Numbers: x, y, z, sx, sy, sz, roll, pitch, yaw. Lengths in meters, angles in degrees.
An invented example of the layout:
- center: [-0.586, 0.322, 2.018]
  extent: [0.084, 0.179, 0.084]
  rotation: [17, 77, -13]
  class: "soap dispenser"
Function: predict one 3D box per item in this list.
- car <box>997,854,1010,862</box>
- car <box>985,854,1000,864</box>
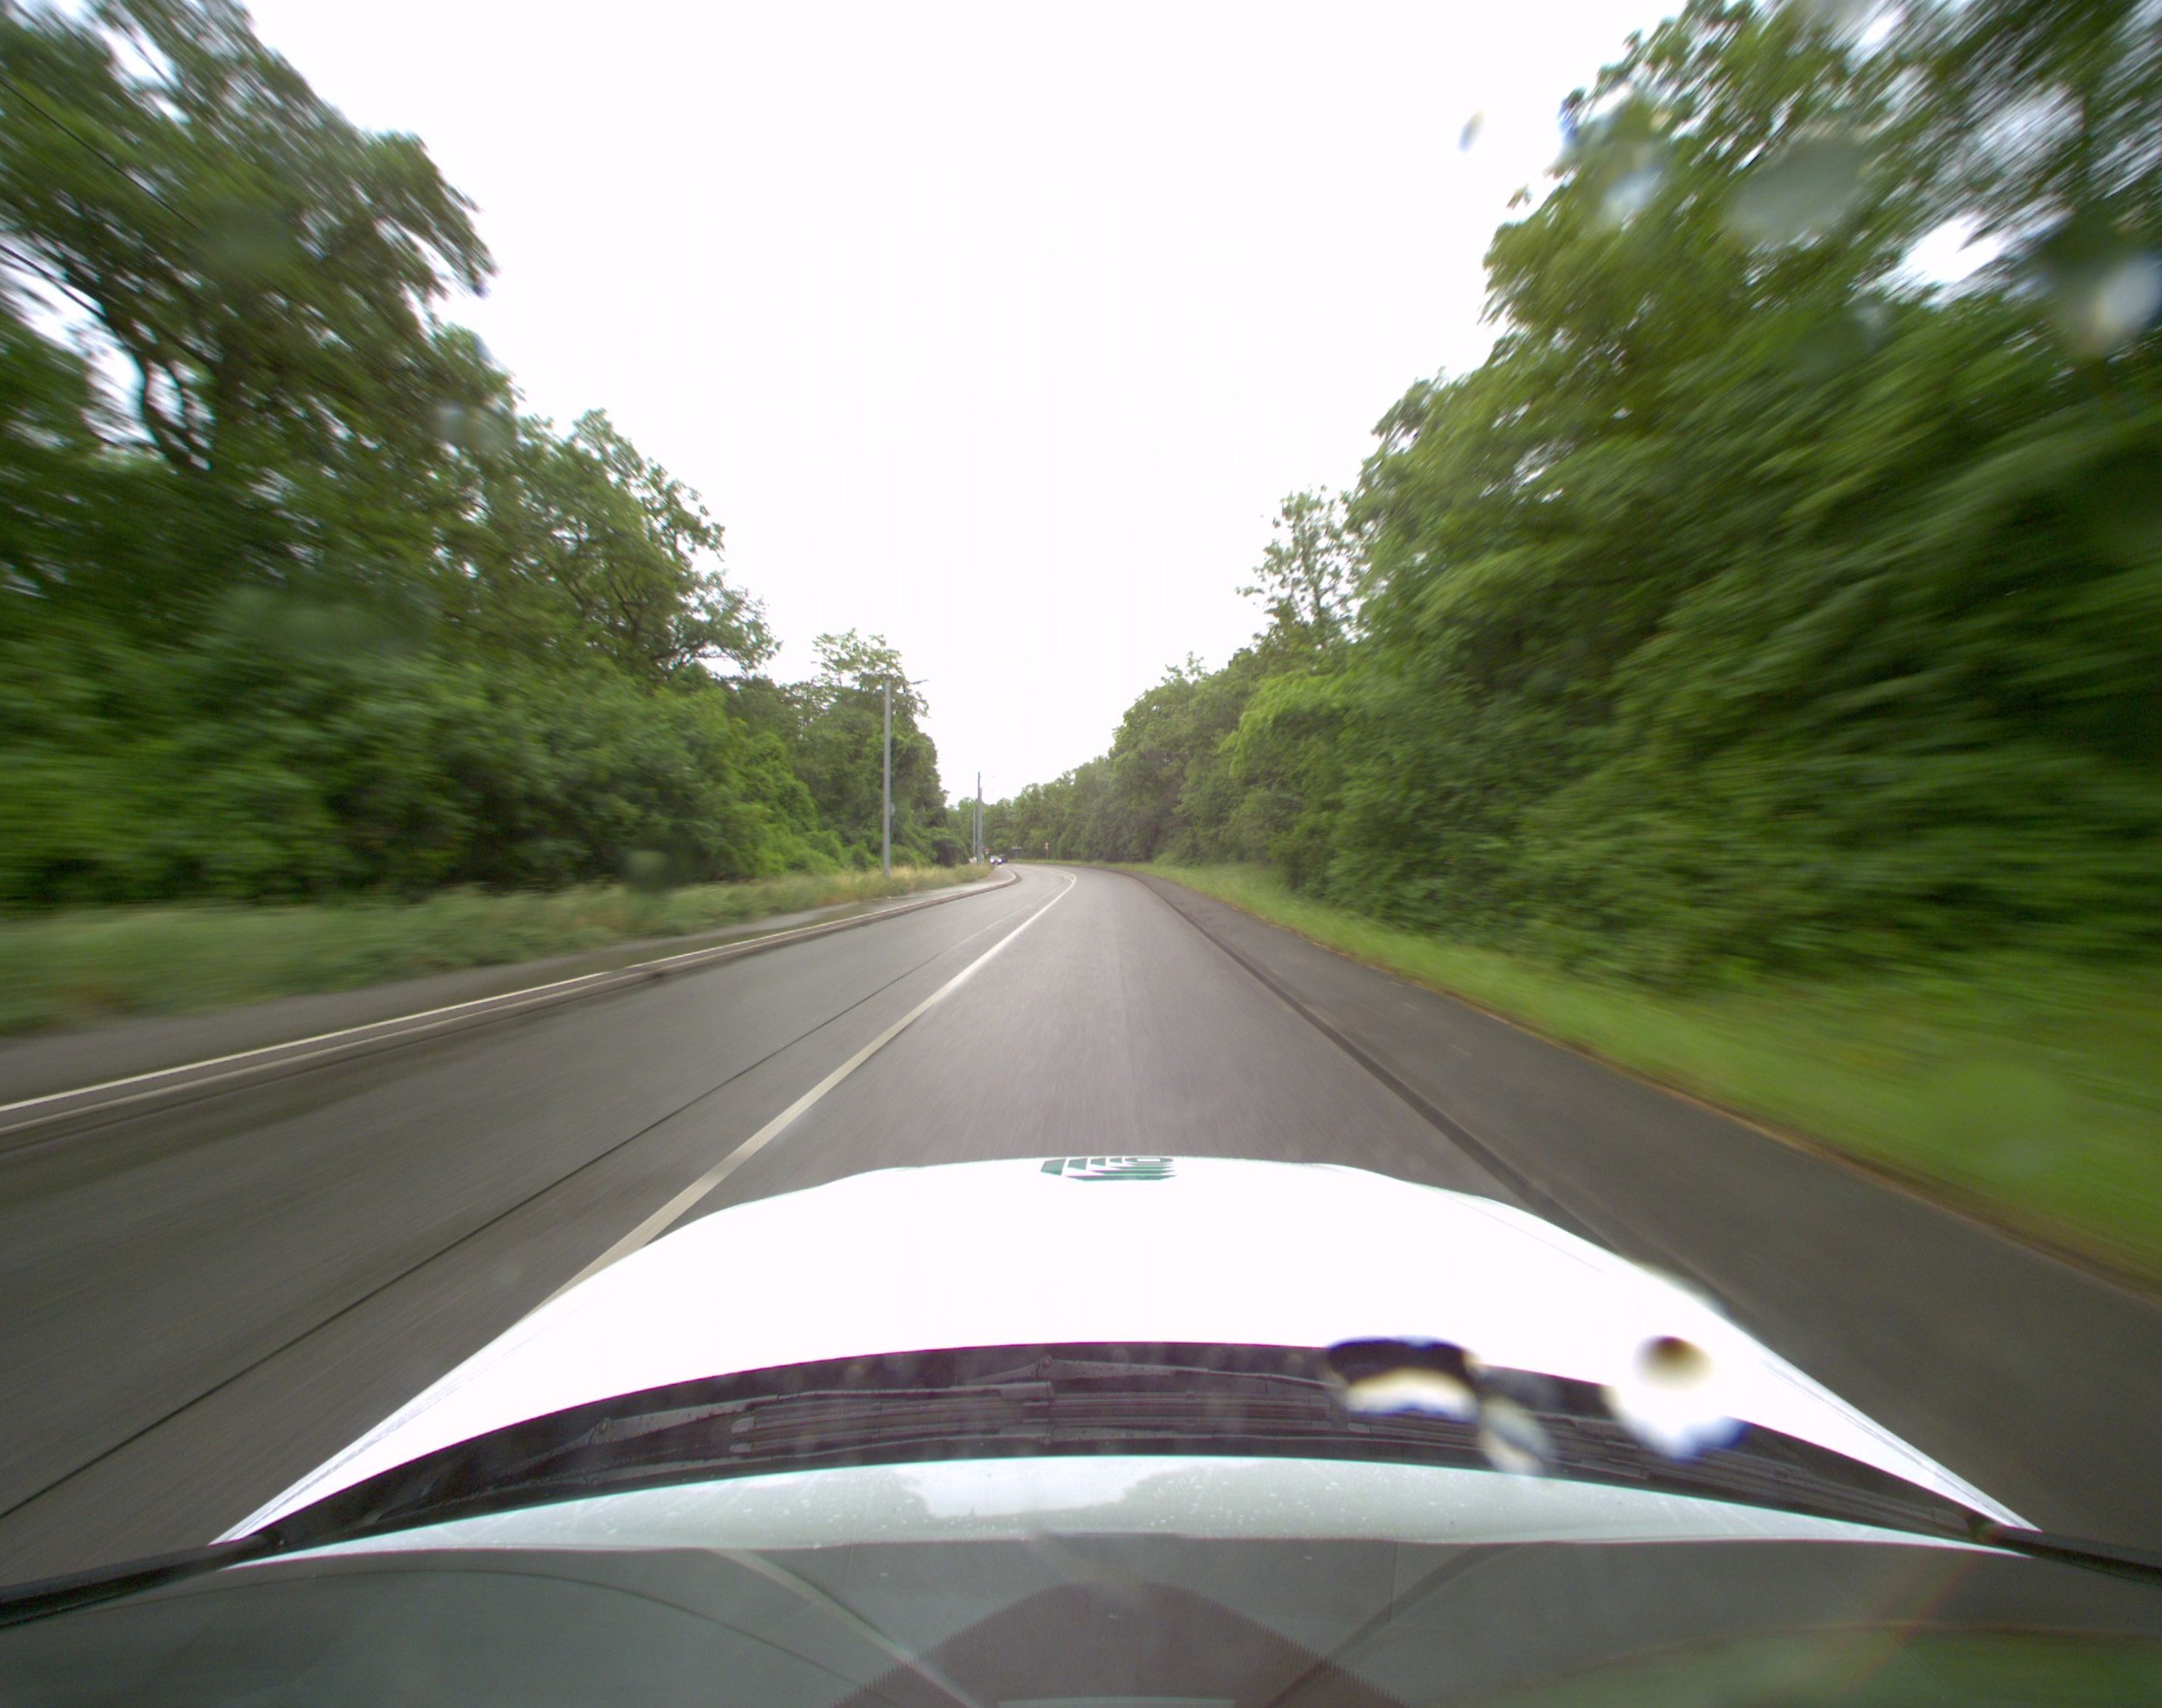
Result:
- center: [-16.419, 0.866, 172.122]
  extent: [1.873, 1.596, 3.974]
  rotation: [1, 0, -20]
  class: "car"
- center: [-16.360, 0.905, 150.137]
  extent: [1.997, 1.787, 4.684]
  rotation: [-2, 0, -14]
  class: "car"
